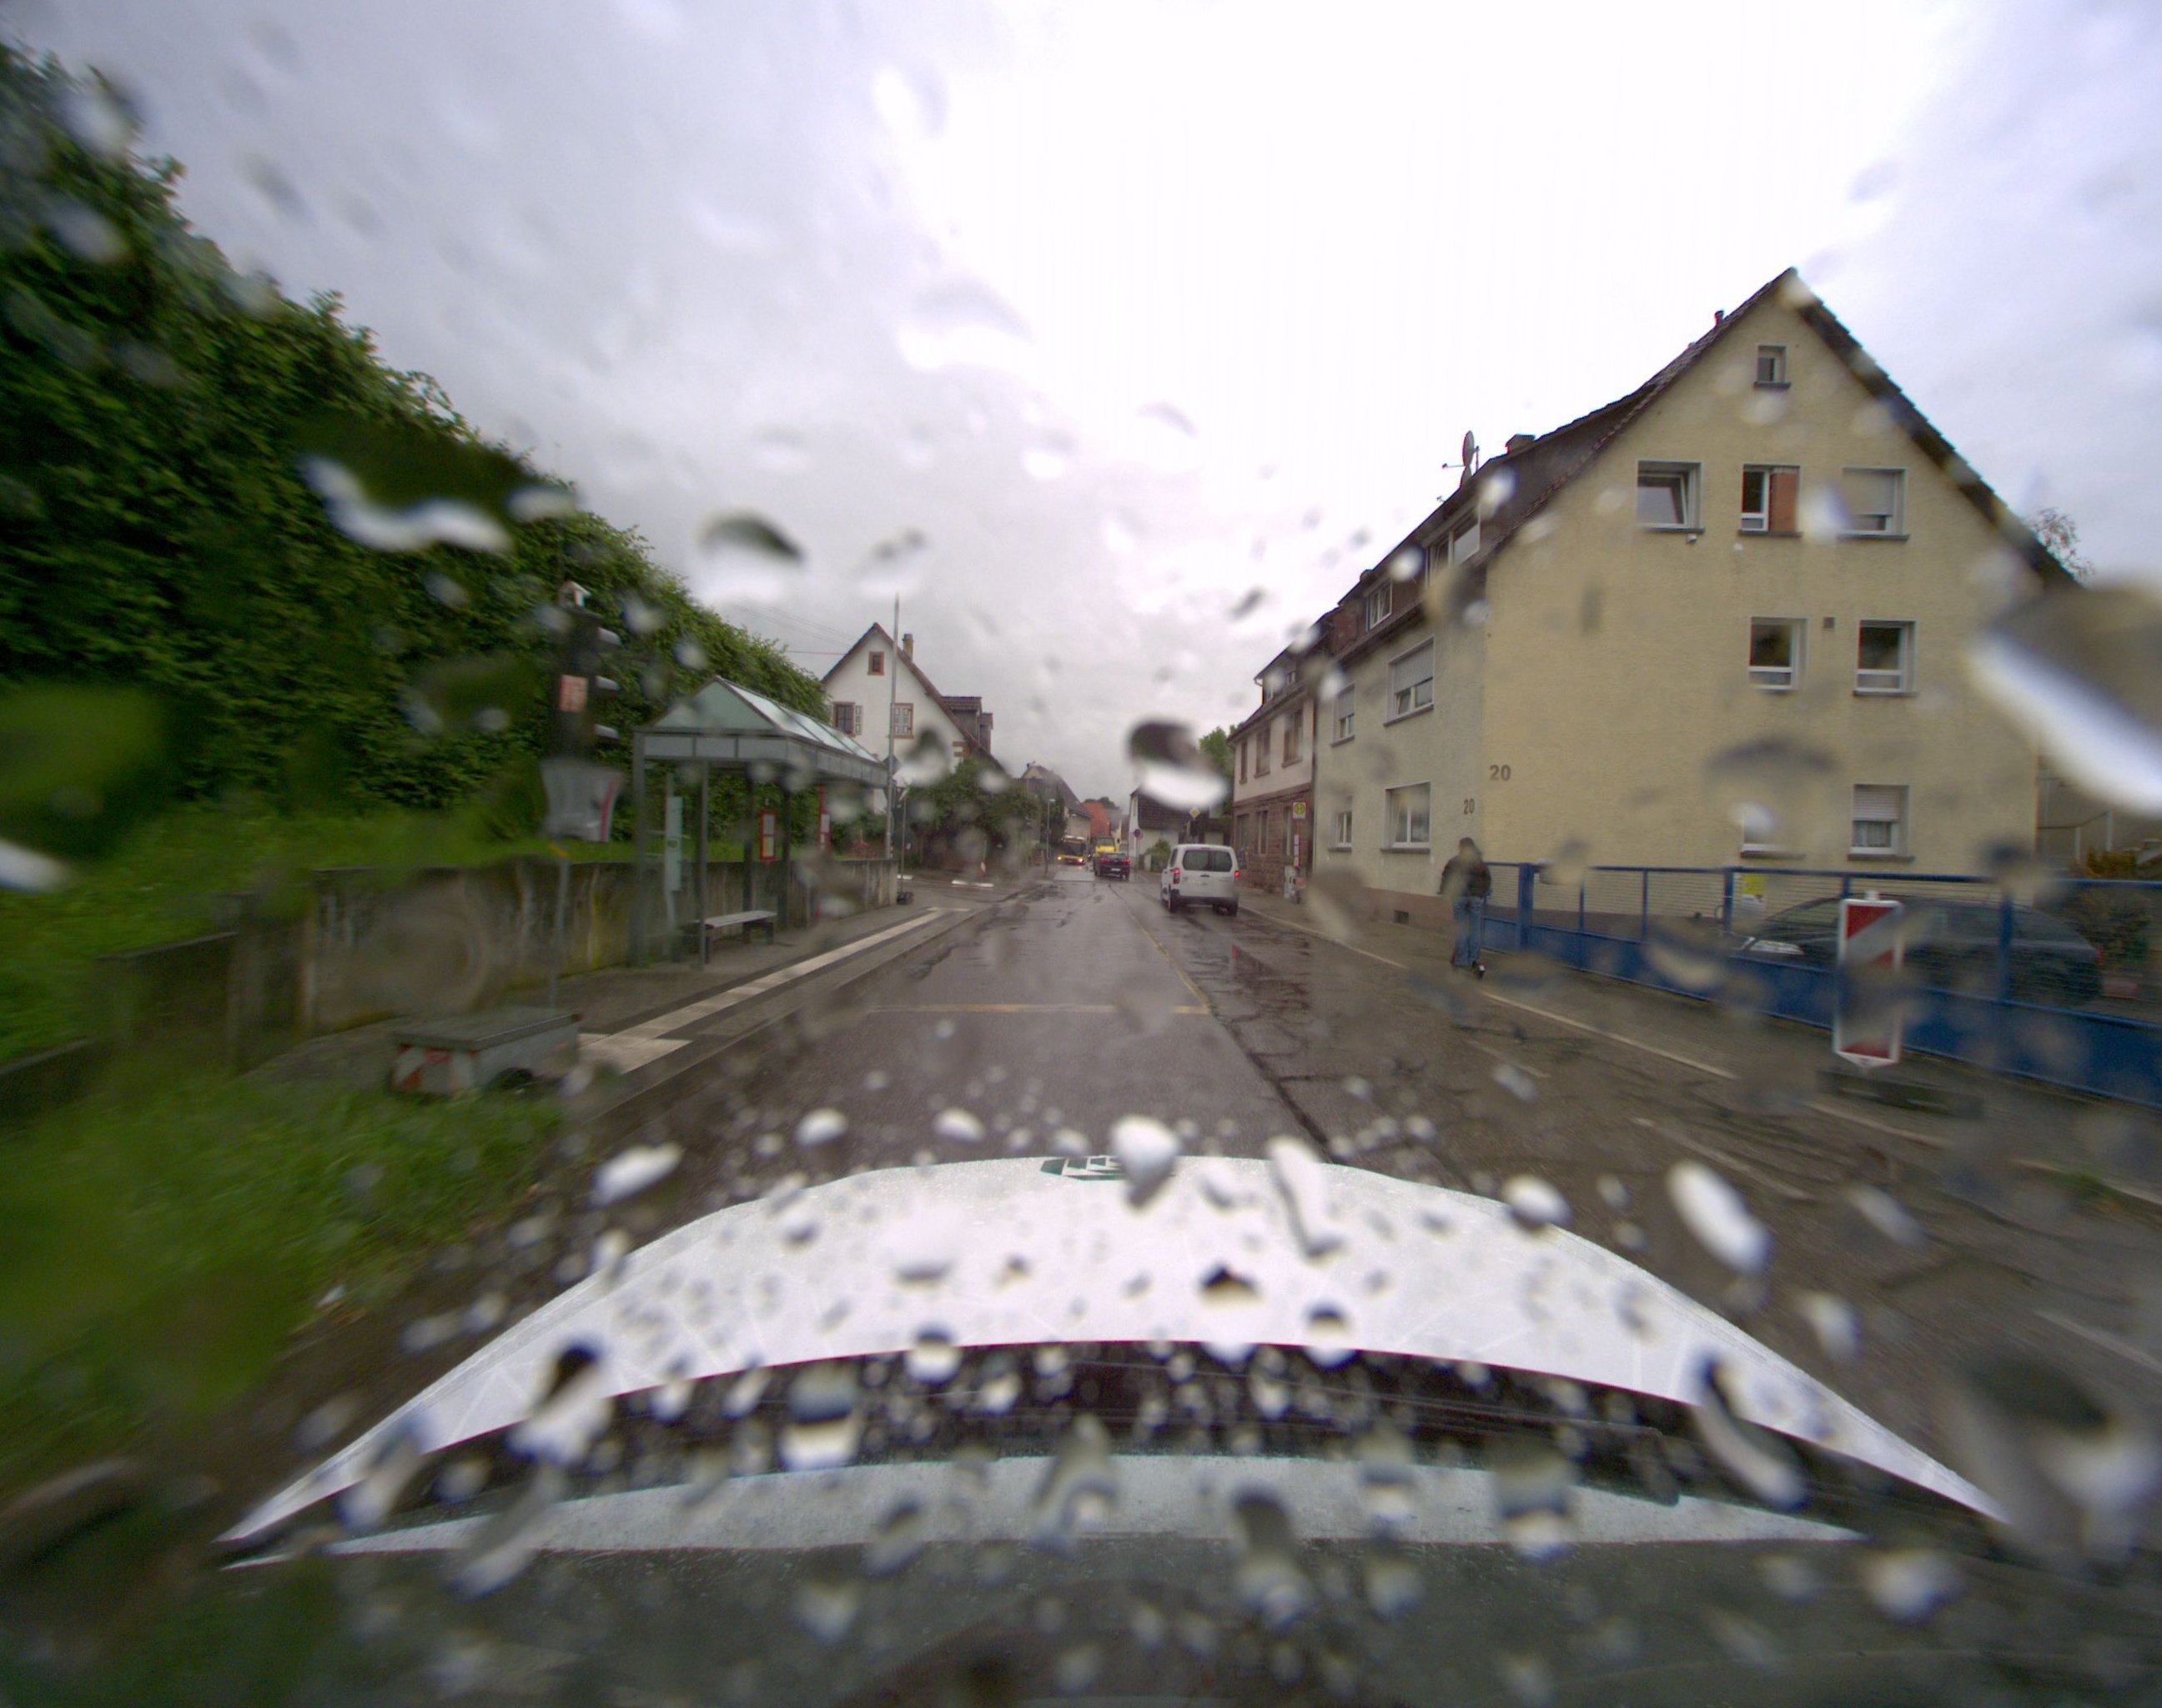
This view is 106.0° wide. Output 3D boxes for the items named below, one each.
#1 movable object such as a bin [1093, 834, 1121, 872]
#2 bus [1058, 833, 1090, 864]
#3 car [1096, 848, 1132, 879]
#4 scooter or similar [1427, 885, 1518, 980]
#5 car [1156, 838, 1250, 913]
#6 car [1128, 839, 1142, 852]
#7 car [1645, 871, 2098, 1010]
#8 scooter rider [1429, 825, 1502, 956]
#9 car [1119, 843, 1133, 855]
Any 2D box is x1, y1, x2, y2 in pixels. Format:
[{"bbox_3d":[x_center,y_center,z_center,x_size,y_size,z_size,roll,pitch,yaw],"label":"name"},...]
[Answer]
[{"bbox_3d":[1.882,-0.081,60.026,1.722,2.653,3.973,3,0,-1],"label":"movable object such as a bin"},{"bbox_3d":[-0.662,-0.703,88.503,2.639,2.999,12.202,2,2,3],"label":"bus"},{"bbox_3d":[1.872,0.516,46.880,1.804,1.596,3.754,3,0,-1],"label":"car"},{"bbox_3d":[5.247,1.015,11.000,0.617,1.127,1.404,2,0,5],"label":"scooter or similar"},{"bbox_3d":[3.246,0.530,22.352,1.889,1.793,3.812,3,0,-1],"label":"car"},{"bbox_3d":[7.732,-1.139,116.377,1.841,1.794,4.007,0,0,6],"label":"car"},{"bbox_3d":[10.225,1.072,10.795,4.132,1.302,1.911,5,0,-1],"label":"car"},{"bbox_3d":[5.277,0.493,11.199,0.727,1.733,0.519,2,-1,4],"label":"scooter rider"},{"bbox_3d":[7.636,-0.810,137.485,1.982,2.014,4.009,0,0,8],"label":"car"}]
